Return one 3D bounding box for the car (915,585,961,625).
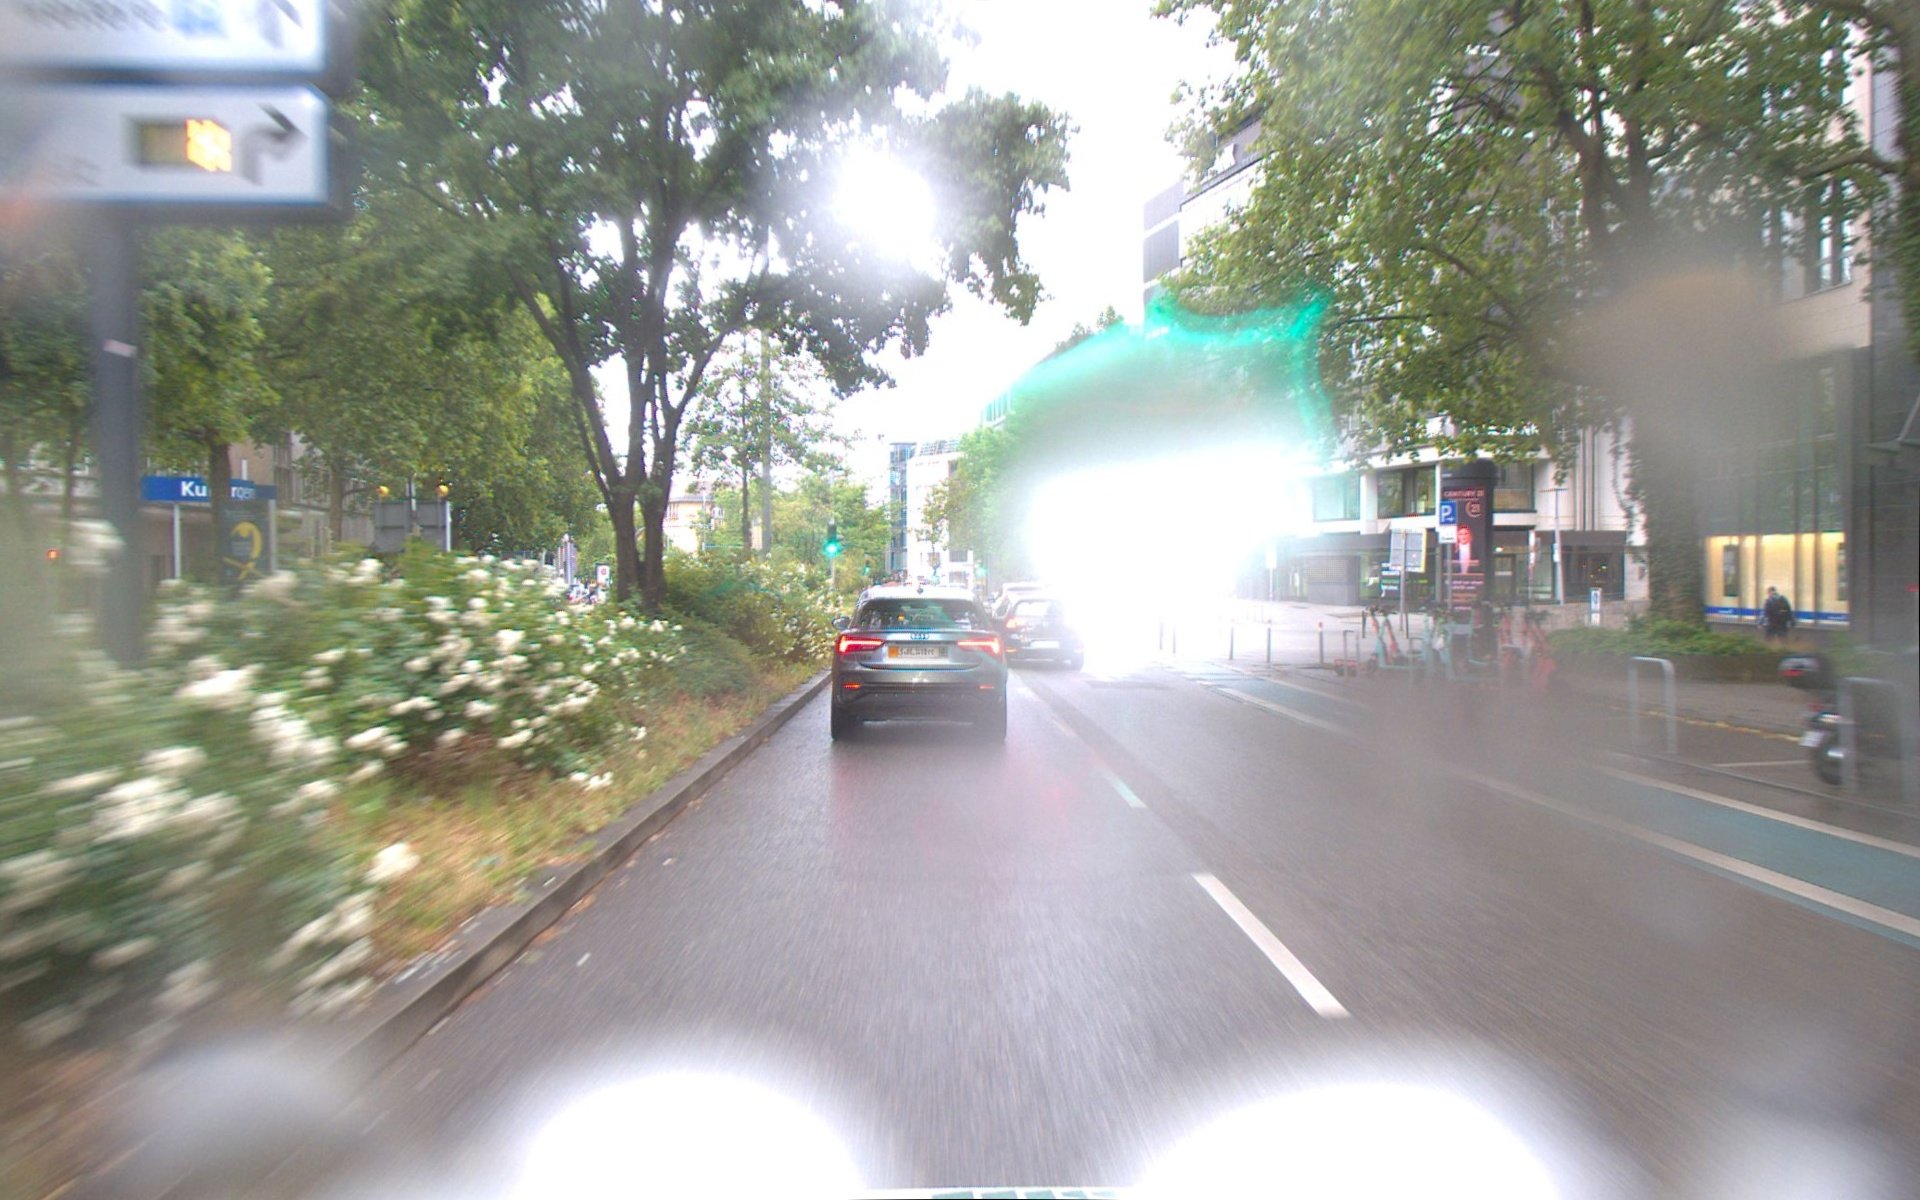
[{"bbox_3d":[-0.913,0.184,67.523,1.812,1.550,4.038,0,0,-1],"label":"car"}]

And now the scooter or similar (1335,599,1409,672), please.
[{"bbox_3d":[7.507,0.652,30.164,1.262,1.281,0.490,-1,2,11],"label":"scooter or similar"}]

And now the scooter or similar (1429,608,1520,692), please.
[{"bbox_3d":[8.069,0.779,25.961,1.263,1.257,0.489,-1,2,1],"label":"scooter or similar"}]

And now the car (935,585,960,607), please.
[{"bbox_3d":[-0.929,-0.310,122.444,1.812,1.550,4.038,0,0,-1],"label":"car"}]

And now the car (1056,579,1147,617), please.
[{"bbox_3d":[6.051,-0.090,70.751,3.572,1.574,1.716,1,0,18],"label":"car"}]

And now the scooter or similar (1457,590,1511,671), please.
[{"bbox_3d":[8.819,0.493,27.867,0.477,1.281,1.293,-1,2,-1],"label":"scooter or similar"}]

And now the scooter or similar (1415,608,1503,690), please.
[{"bbox_3d":[8.053,0.782,26.705,1.263,1.257,0.489,-1,2,1],"label":"scooter or similar"}]

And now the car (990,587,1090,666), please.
[{"bbox_3d":[1.596,0.506,34.340,1.812,1.550,4.038,0,0,-1],"label":"car"}]

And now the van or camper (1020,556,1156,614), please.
[{"bbox_3d":[5.931,-0.667,76.783,5.946,2.603,2.103,0,0,26],"label":"van or camper"}]

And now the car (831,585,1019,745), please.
[{"bbox_3d":[-0.402,0.617,18.069,1.812,1.550,4.037,0,0,-2],"label":"car"}]

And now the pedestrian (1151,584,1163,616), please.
[{"bbox_3d":[11.379,0.011,95.399,0.542,1.836,0.761,1,-1,-4],"label":"pedestrian"}]

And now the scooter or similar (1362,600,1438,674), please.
[{"bbox_3d":[7.884,0.654,29.639,1.262,1.281,0.490,-1,2,11],"label":"scooter or similar"}]

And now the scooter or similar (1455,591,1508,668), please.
[{"bbox_3d":[9.167,0.504,29.106,0.477,1.281,1.293,-1,2,-1],"label":"scooter or similar"}]

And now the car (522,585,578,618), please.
[{"bbox_3d":[-19.608,0.041,79.234,1.733,1.459,4.668,-3,1,-4],"label":"car"}]

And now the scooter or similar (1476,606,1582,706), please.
[{"bbox_3d":[7.803,0.759,22.688,1.262,1.300,0.537,-1,2,3],"label":"scooter or similar"}]

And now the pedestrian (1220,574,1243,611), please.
[{"bbox_3d":[12.919,-0.345,78.715,0.790,1.726,1.186,1,0,-7],"label":"pedestrian"}]

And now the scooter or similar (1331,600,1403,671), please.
[{"bbox_3d":[7.571,0.656,30.777,1.262,1.281,0.490,-1,2,11],"label":"scooter or similar"}]

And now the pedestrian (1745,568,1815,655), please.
[{"bbox_3d":[18.165,0.258,36.667,0.898,1.882,1.276,1,-1,-1],"label":"pedestrian"}]

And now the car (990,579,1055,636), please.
[{"bbox_3d":[1.908,0.214,51.615,1.812,1.698,4.038,0,0,-1],"label":"car"}]

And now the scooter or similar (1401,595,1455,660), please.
[{"bbox_3d":[8.955,0.514,31.662,0.479,1.218,1.290,0,0,-10],"label":"scooter or similar"}]

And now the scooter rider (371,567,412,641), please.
[{"bbox_3d":[-15.344,0.106,44.671,0.882,1.974,0.756,0,0,-5],"label":"scooter rider"}]

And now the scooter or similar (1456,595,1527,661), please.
[{"bbox_3d":[10.106,0.527,31.464,0.483,1.218,1.279,0,0,-32],"label":"scooter or similar"}]

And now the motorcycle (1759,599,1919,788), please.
[{"bbox_3d":[7.612,0.729,13.583,1.925,1.397,0.726,-2,2,-18],"label":"motorcycle"}]

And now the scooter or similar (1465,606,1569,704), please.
[{"bbox_3d":[7.779,0.761,23.132,1.262,1.300,0.537,-1,2,3],"label":"scooter or similar"}]

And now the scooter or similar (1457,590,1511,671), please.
[{"bbox_3d":[8.819,0.493,27.867,0.477,1.281,1.293,-1,2,-1],"label":"scooter or similar"}]

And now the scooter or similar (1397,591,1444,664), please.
[{"bbox_3d":[8.575,0.505,30.798,0.477,1.281,1.293,-1,2,-1],"label":"scooter or similar"}]

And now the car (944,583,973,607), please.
[{"bbox_3d":[-0.136,-0.325,107.736,1.812,1.550,4.038,0,0,-1],"label":"car"}]

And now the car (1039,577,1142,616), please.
[{"bbox_3d":[5.802,-0.176,73.503,4.172,1.696,1.817,1,0,25],"label":"car"}]

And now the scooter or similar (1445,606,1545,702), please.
[{"bbox_3d":[7.694,0.763,23.815,1.267,1.300,0.535,-2,2,-12],"label":"scooter or similar"}]

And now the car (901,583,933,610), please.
[{"bbox_3d":[-2.504,-0.211,95.875,1.812,1.550,4.038,0,0,-1],"label":"car"}]
